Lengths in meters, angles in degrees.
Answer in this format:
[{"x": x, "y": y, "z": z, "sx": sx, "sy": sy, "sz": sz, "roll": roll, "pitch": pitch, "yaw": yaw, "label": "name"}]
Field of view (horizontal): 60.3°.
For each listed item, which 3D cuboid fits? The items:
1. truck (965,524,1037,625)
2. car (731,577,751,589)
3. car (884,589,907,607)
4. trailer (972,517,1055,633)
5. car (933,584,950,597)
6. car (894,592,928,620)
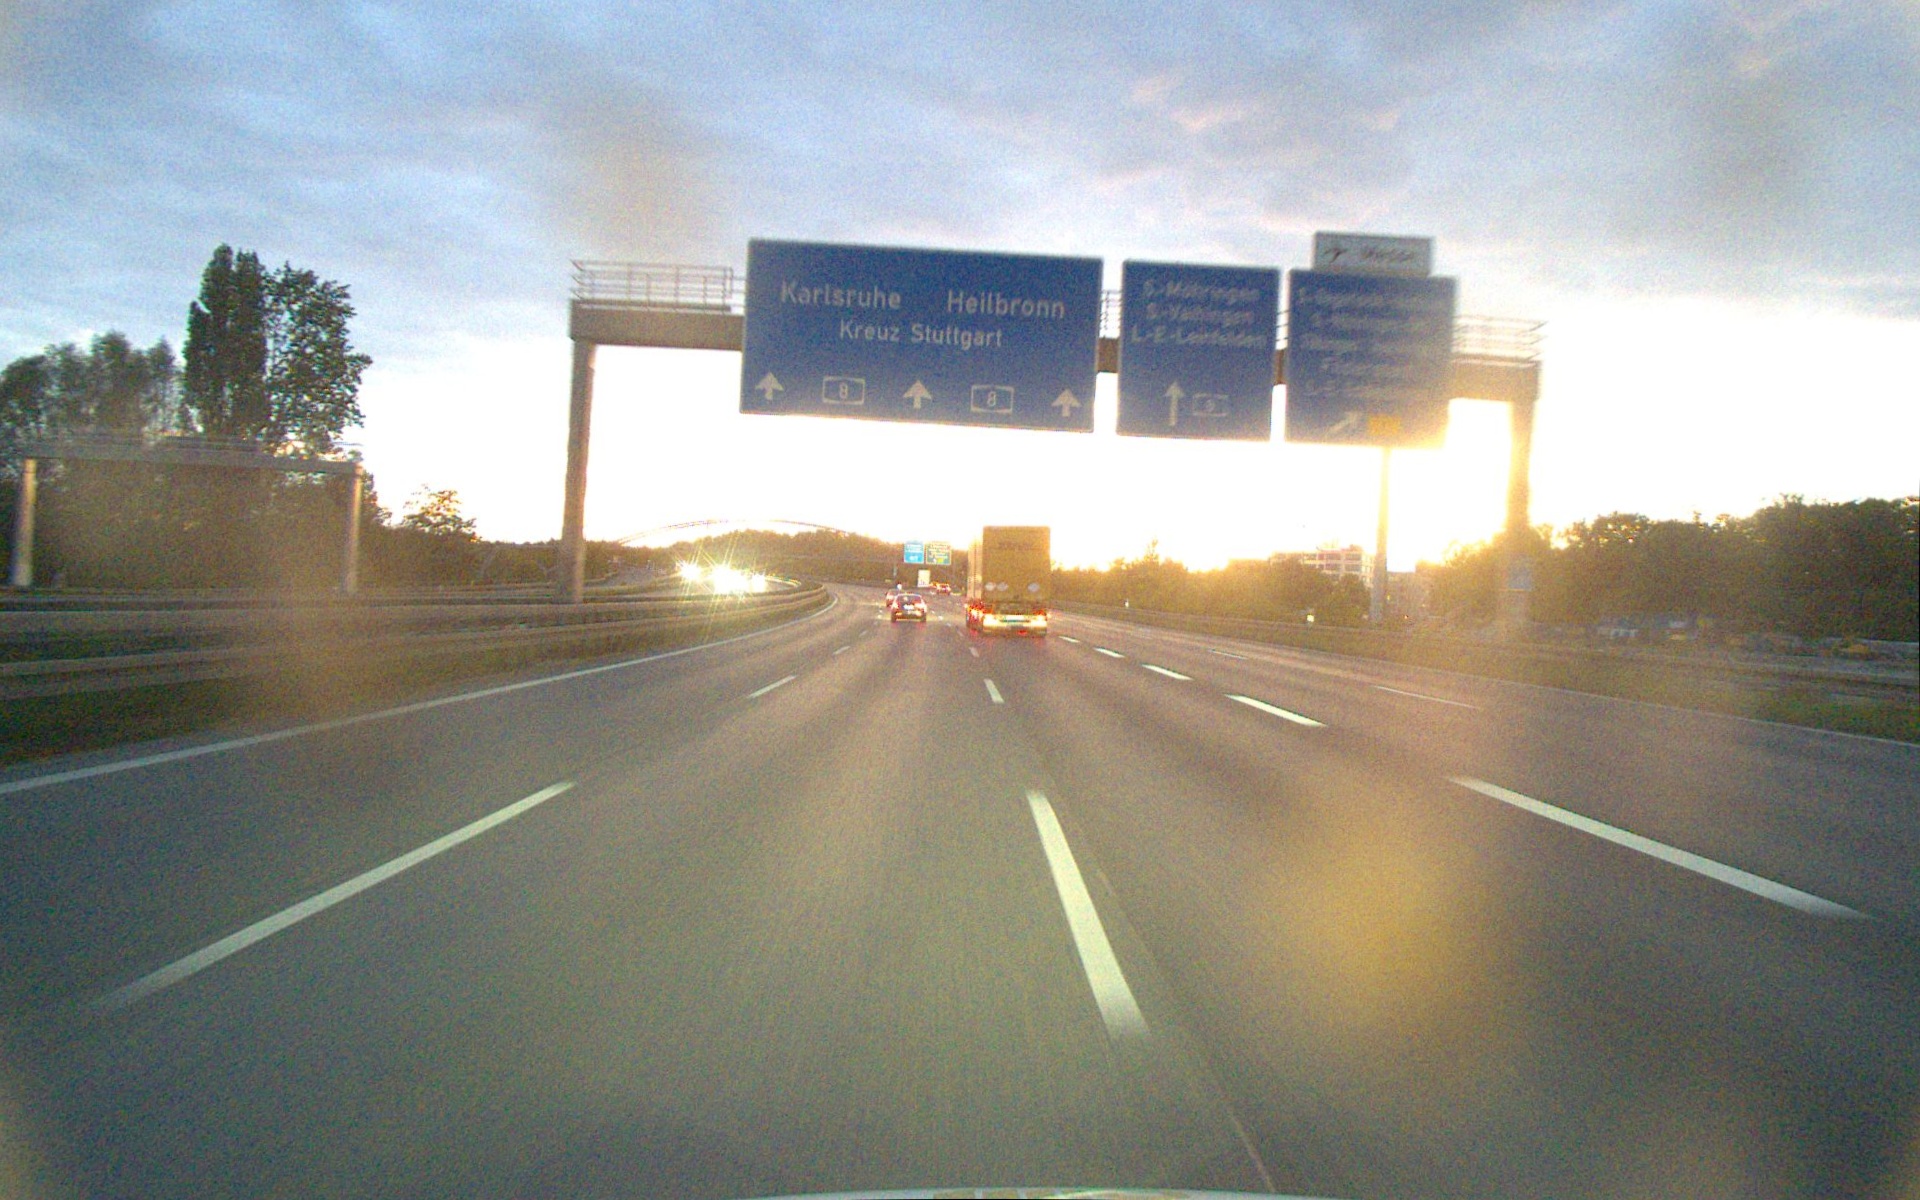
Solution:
[{"x": 1.711, "y": -1.133, "z": 73.599, "sx": 2.636, "sy": 4.142, "sz": 10.518, "roll": 1, "pitch": 1, "yaw": -1, "label": "truck"}, {"x": -25.610, "y": -1.981, "z": 193.671, "sx": 1.954, "sy": 1.382, "sz": 4.862, "roll": 1, "pitch": 1, "yaw": -4, "label": "car"}, {"x": -5.264, "y": -0.133, "z": 135.607, "sx": 1.654, "sy": 1.426, "sz": 3.409, "roll": 0, "pitch": -1, "yaw": 2, "label": "car"}, {"x": 1.955, "y": -0.965, "z": 63.954, "sx": 2.667, "sy": 4.142, "sz": 8.829, "roll": 1, "pitch": 1, "yaw": -2, "label": "trailer"}, {"x": -2.703, "y": -1.345, "z": 235.162, "sx": 1.956, "sy": 1.747, "sz": 3.993, "roll": 2, "pitch": -1, "yaw": -7, "label": "car"}, {"x": -2.593, "y": 0.329, "z": 86.582, "sx": 1.656, "sy": 1.426, "sz": 3.406, "roll": 1, "pitch": -1, "yaw": -4, "label": "car"}]
